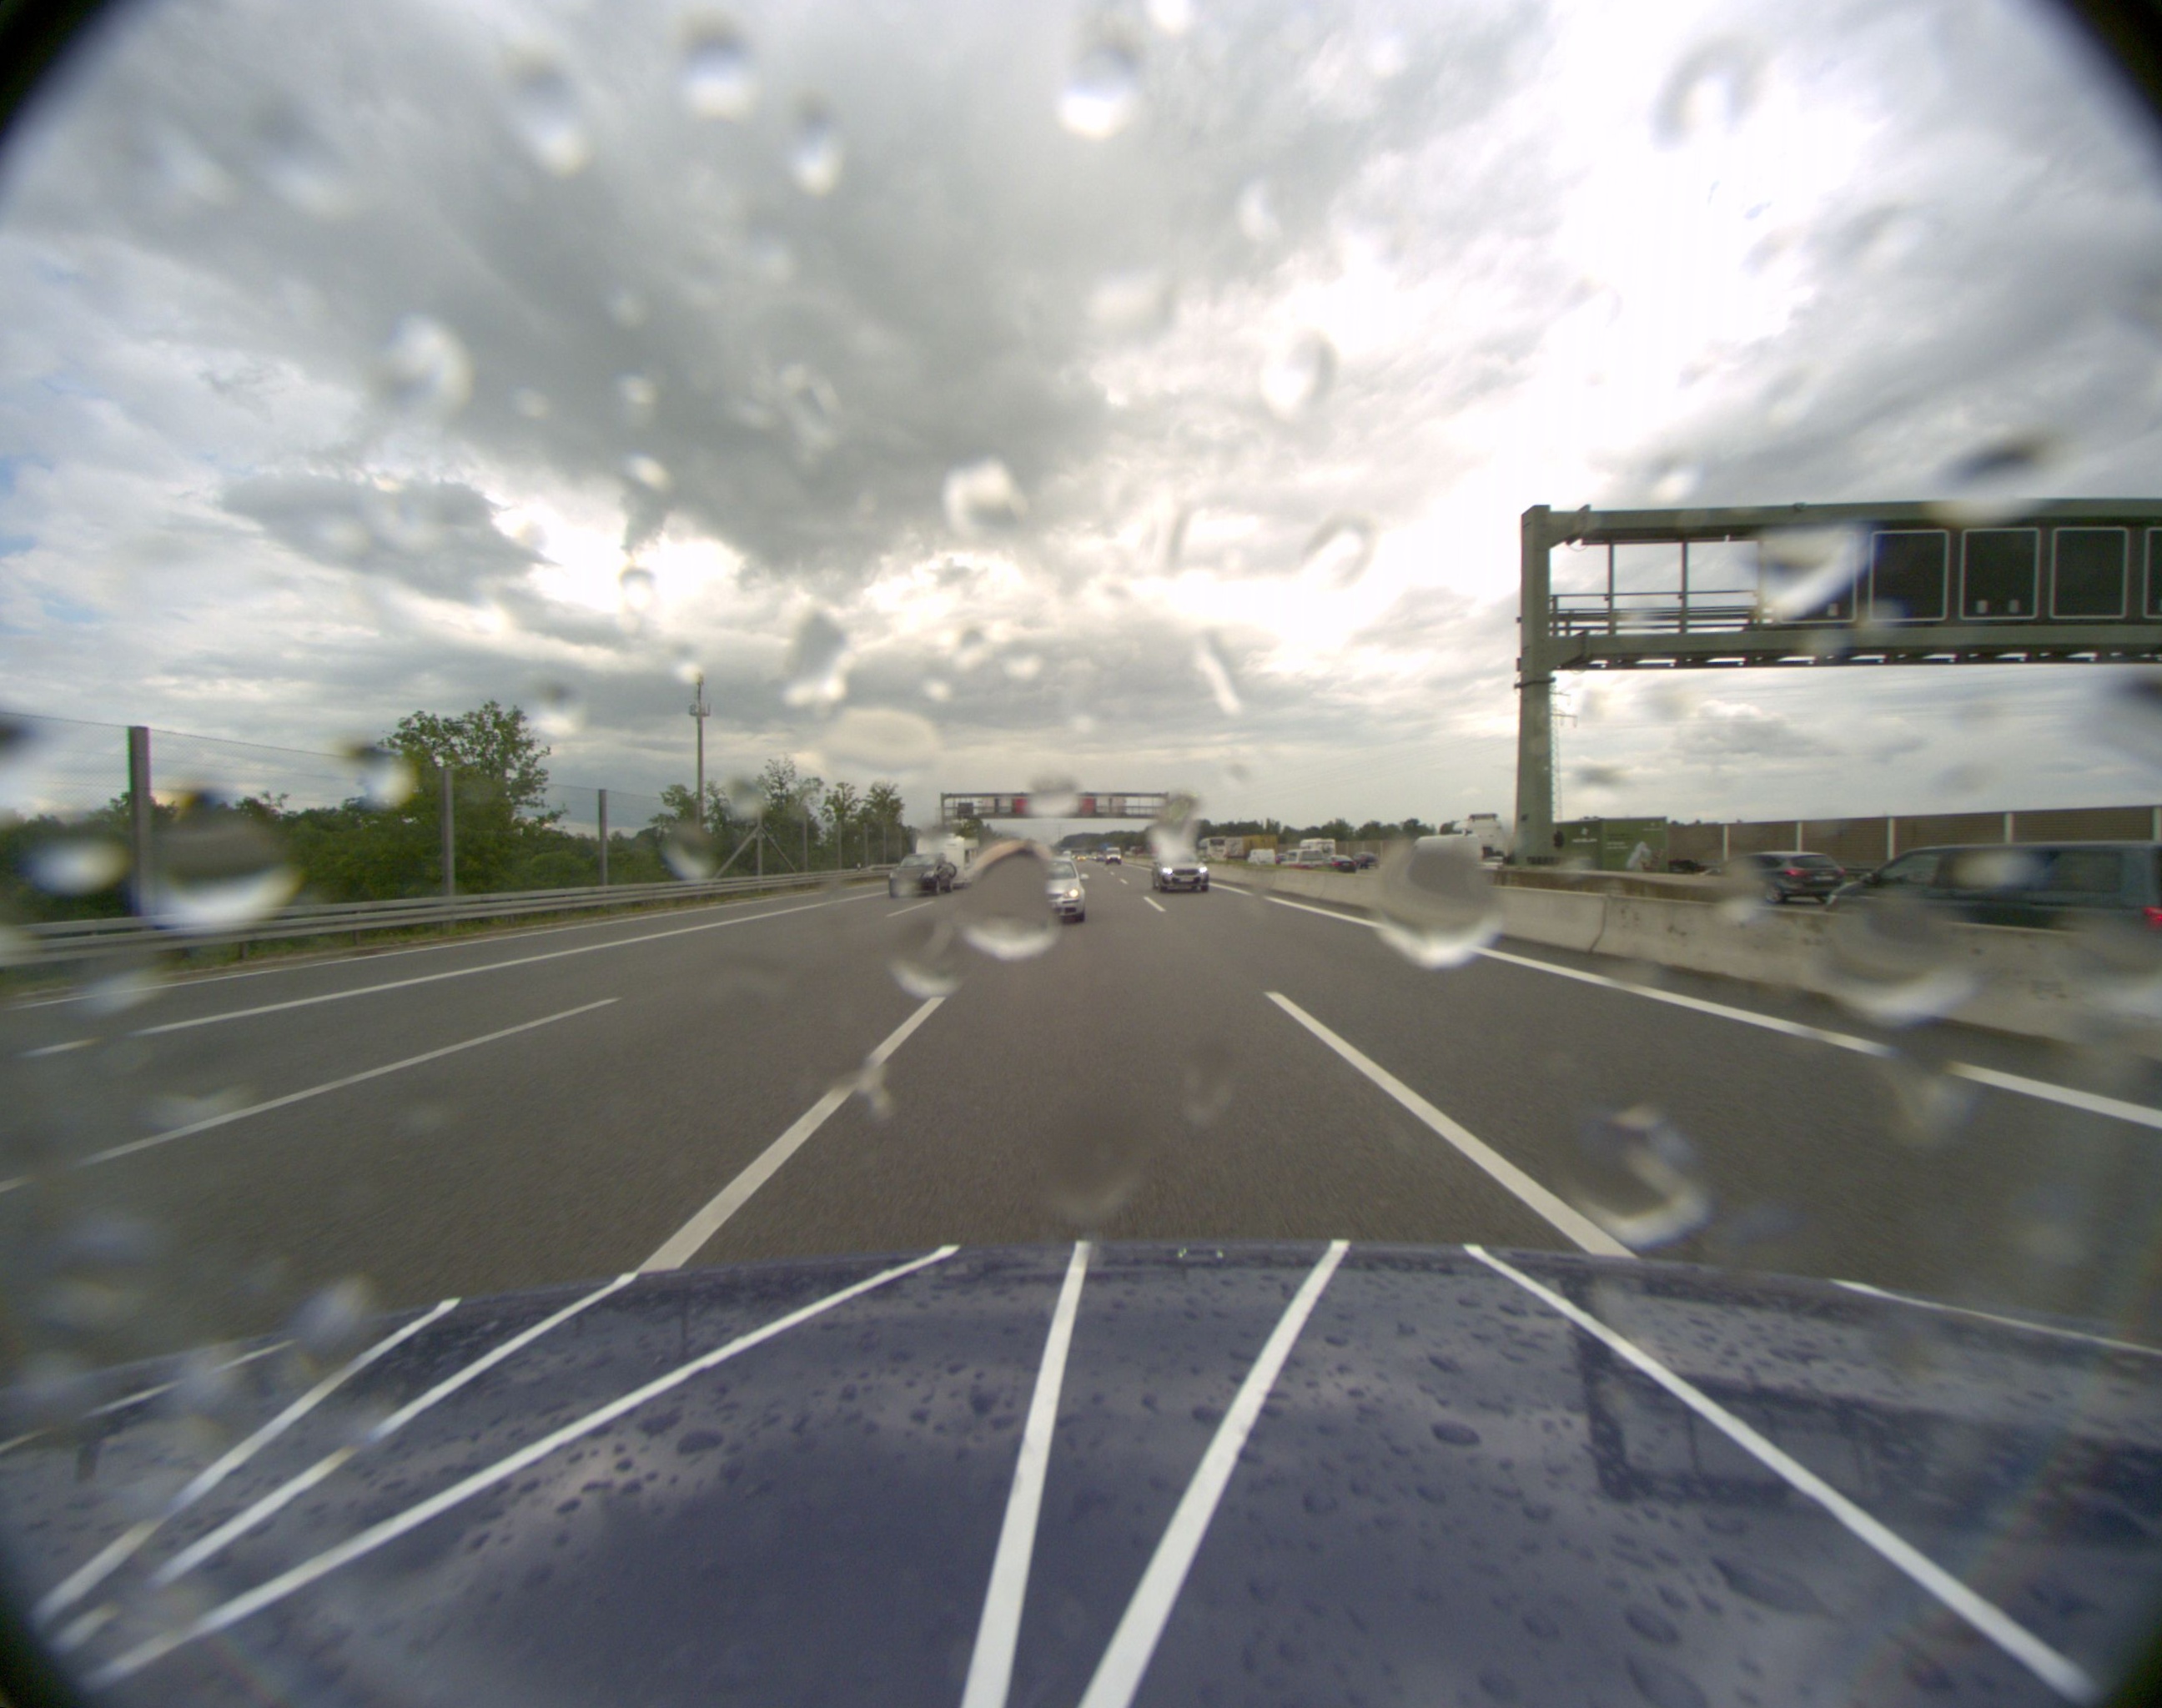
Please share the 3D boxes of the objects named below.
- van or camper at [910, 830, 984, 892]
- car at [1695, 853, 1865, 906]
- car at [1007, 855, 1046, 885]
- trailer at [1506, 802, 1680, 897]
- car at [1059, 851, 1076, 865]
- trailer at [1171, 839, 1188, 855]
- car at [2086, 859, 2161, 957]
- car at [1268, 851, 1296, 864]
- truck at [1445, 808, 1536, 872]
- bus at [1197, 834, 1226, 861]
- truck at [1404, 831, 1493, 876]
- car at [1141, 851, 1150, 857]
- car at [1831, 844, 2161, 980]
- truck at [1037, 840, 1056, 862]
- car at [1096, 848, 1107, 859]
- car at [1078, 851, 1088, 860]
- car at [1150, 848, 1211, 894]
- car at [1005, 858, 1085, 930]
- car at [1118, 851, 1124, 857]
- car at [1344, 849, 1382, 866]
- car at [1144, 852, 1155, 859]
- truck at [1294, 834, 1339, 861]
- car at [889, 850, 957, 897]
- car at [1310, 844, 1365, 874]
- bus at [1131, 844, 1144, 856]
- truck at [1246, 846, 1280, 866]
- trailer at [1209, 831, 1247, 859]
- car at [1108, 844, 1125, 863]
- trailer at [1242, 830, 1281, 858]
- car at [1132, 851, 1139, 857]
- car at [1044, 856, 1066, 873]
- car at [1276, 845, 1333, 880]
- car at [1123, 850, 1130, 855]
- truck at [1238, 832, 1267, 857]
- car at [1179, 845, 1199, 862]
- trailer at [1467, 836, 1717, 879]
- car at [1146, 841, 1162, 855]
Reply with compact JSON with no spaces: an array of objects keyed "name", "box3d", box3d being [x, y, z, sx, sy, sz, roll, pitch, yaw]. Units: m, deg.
[{"name":"van or camper","box3d":[-6.468,0.308,37.681,2.390,2.722,7.208,-2,0,-1]},{"name":"car","box3d":[21.779,0.734,23.909,1.821,1.486,3.899,-1,0,1]},{"name":"car","box3d":[-2.768,0.772,39.164,1.717,1.437,4.000,-2,0,-1]},{"name":"trailer","box3d":[18.653,-0.154,28.198,2.455,3.120,6.050,-1,0,1]},{"name":"car","box3d":[-1.754,0.524,96.585,1.999,1.701,3.999,-2,0,-2]},{"name":"trailer","box3d":[27.115,-1.954,210.134,2.908,4.092,12.697,-2,0,-1]},{"name":"car","box3d":[18.280,0.876,11.242,1.686,1.568,3.875,-1,0,0]},{"name":"car","box3d":[22.440,0.387,84.970,1.969,1.378,4.945,-1,0,1]},{"name":"truck","box3d":[26.325,-0.867,49.183,2.759,3.865,6.050,-1,0,1]},{"name":"bus","box3d":[18.913,-0.896,110.670,2.660,3.658,10.634,-1,0,1]},{"name":"truck","box3d":[22.368,-0.052,46.662,2.249,2.588,6.558,-1,0,0]},{"name":"car","box3d":[15.889,-0.030,188.264,1.721,1.418,4.860,-2,0,-1]},{"name":"car","box3d":[14.627,0.717,11.531,1.821,1.699,4.806,-1,0,1]},{"name":"truck","box3d":[-6.085,-0.509,135.728,2.870,3.633,9.593,-2,0,-1]},{"name":"car","box3d":[3.937,-0.037,147.840,1.999,2.002,3.999,-2,0,-1]},{"name":"car","box3d":[0.387,0.300,165.244,1.999,2.002,3.999,-2,0,-1]},{"name":"car","box3d":[3.816,0.624,29.901,1.840,1.615,4.915,-2,0,1]},{"name":"car","box3d":[-0.793,0.869,18.290,1.683,1.437,3.999,-2,1,-1]},{"name":"car","box3d":[13.436,-0.017,254.736,1.792,1.656,4.296,-2,0,-1]},{"name":"car","box3d":[25.922,0.308,69.933,1.812,1.479,4.773,-1,0,1]},{"name":"car","box3d":[14.851,0.316,164.541,1.792,1.373,4.860,-2,0,-1]},{"name":"truck","box3d":[26.067,-0.697,84.551,2.698,2.798,7.834,-1,0,1]},{"name":"car","box3d":[-6.514,0.753,31.827,1.925,1.765,4.502,-2,0,-1]},{"name":"car","box3d":[18.609,0.335,55.475,2.249,2.101,5.540,-1,0,1]},{"name":"bus","box3d":[17.870,-1.138,239.893,2.897,3.590,12.757,-2,0,-1]},{"name":"truck","box3d":[19.071,0.144,79.778,2.249,1.988,5.544,-1,0,0]},{"name":"trailer","box3d":[22.673,-1.323,118.163,2.893,3.938,14.297,-2,0,0]},{"name":"car","box3d":[4.846,-0.103,104.341,1.999,2.524,4.808,-2,0,-1]},{"name":"trailer","box3d":[27.451,-1.504,116.137,3.036,3.910,12.974,-1,0,1]},{"name":"car","box3d":[14.755,0.024,205.677,1.721,1.514,4.212,-2,0,-1]},{"name":"car","box3d":[-2.347,0.959,69.244,1.841,1.437,4.000,-2,0,-1]},{"name":"car","box3d":[14.871,0.530,50.895,2.235,2.224,5.513,-1,0,1]},{"name":"car","box3d":[14.082,-0.376,233.891,1.792,1.524,4.564,-2,0,-1]},{"name":"truck","box3d":[27.555,-1.466,122.170,3.036,3.910,7.710,-1,1,1]},{"name":"car","box3d":[15.570,-0.059,109.973,2.141,2.338,5.710,-2,0,1]},{"name":"trailer","box3d":[26.162,0.143,40.917,2.759,1.818,16.349,-1,0,1]},{"name":"car","box3d":[21.923,-1.805,228.636,2.990,4.099,14.393,-2,0,-1]}]
